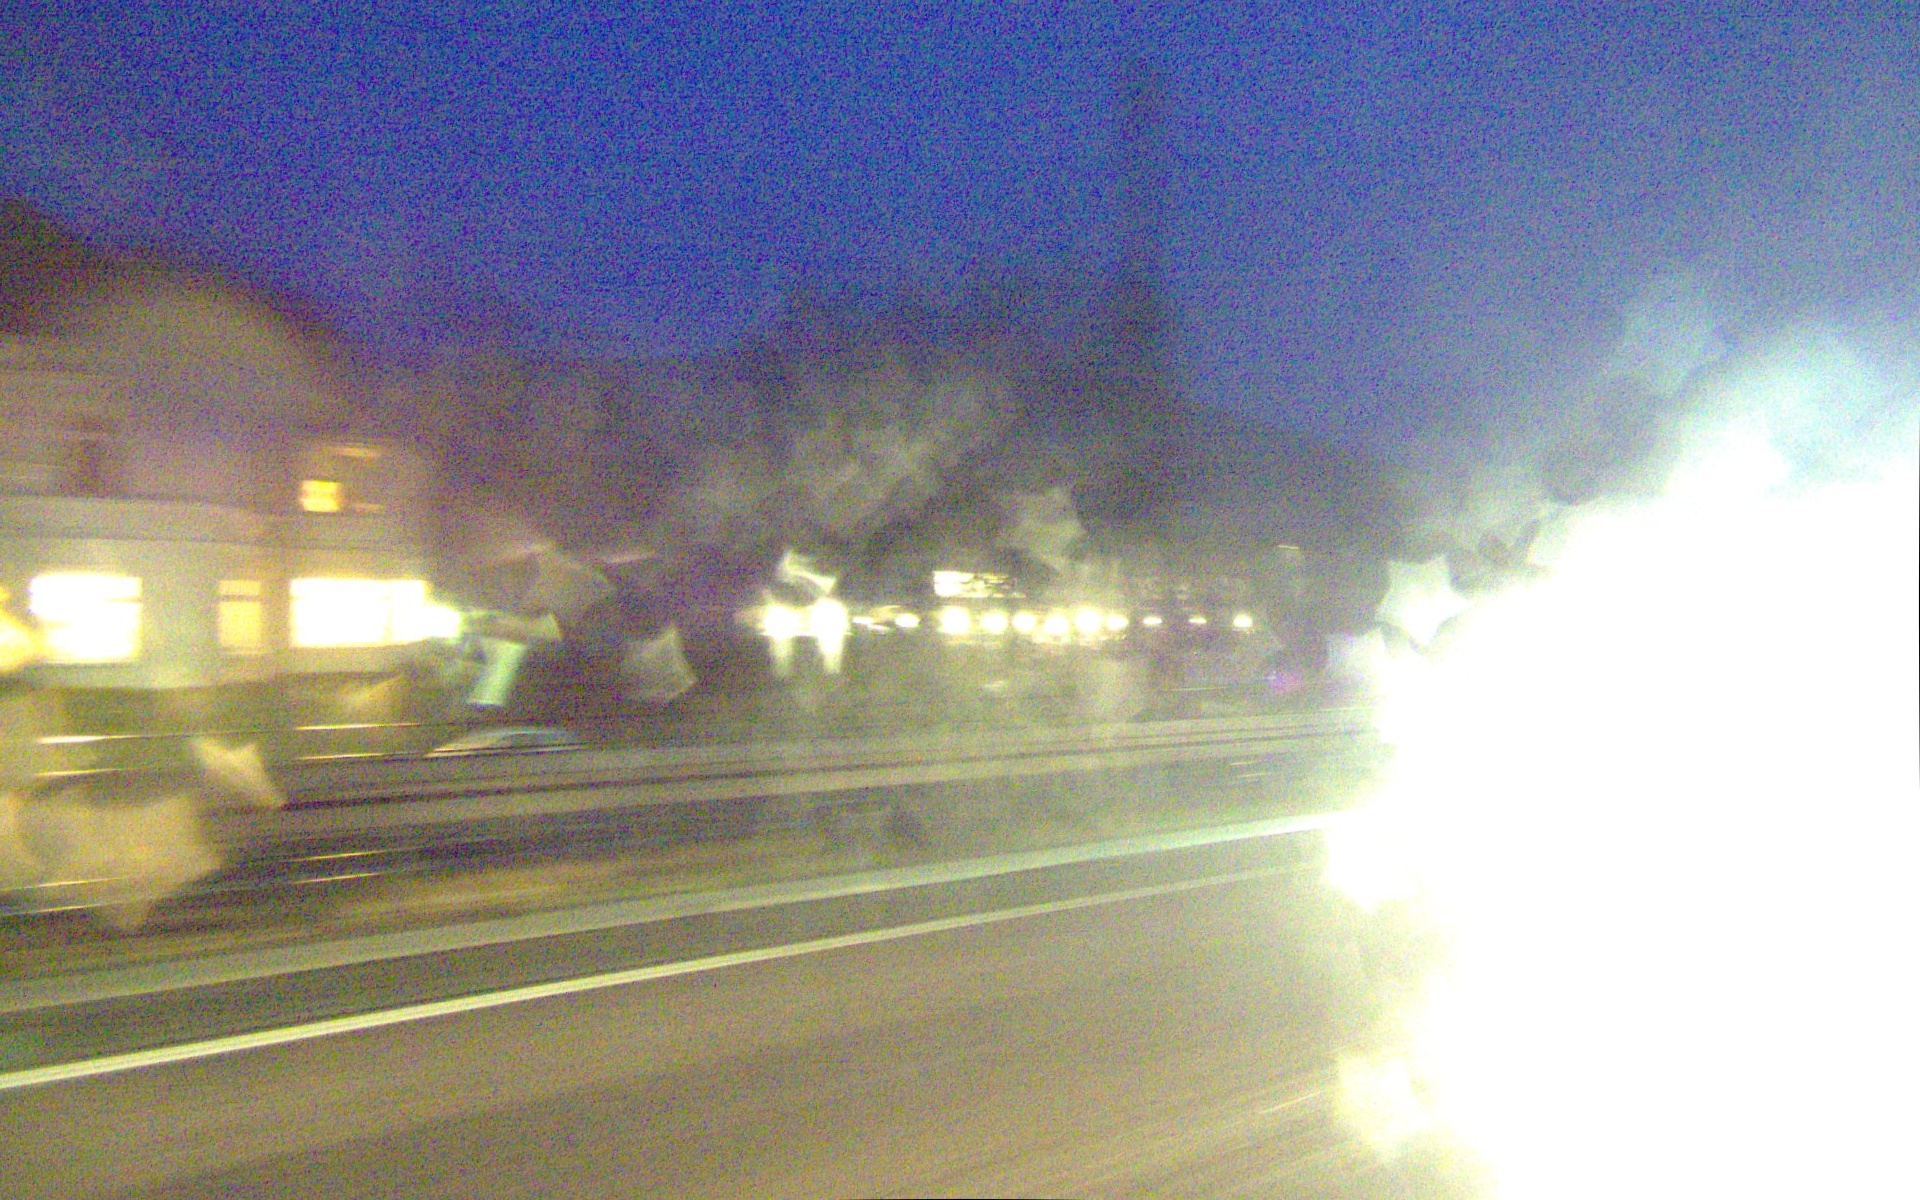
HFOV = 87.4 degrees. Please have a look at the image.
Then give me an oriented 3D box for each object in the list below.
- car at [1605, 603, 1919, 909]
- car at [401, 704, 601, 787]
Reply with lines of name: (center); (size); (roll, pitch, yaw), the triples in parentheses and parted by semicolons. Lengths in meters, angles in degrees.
car: (6.642, 0.872, 7.144); (4.326, 1.644, 1.779); (1, -1, -32)
car: (-11.254, 3.498, 24.697); (4.247, 1.591, 1.797); (2, -1, -33)
